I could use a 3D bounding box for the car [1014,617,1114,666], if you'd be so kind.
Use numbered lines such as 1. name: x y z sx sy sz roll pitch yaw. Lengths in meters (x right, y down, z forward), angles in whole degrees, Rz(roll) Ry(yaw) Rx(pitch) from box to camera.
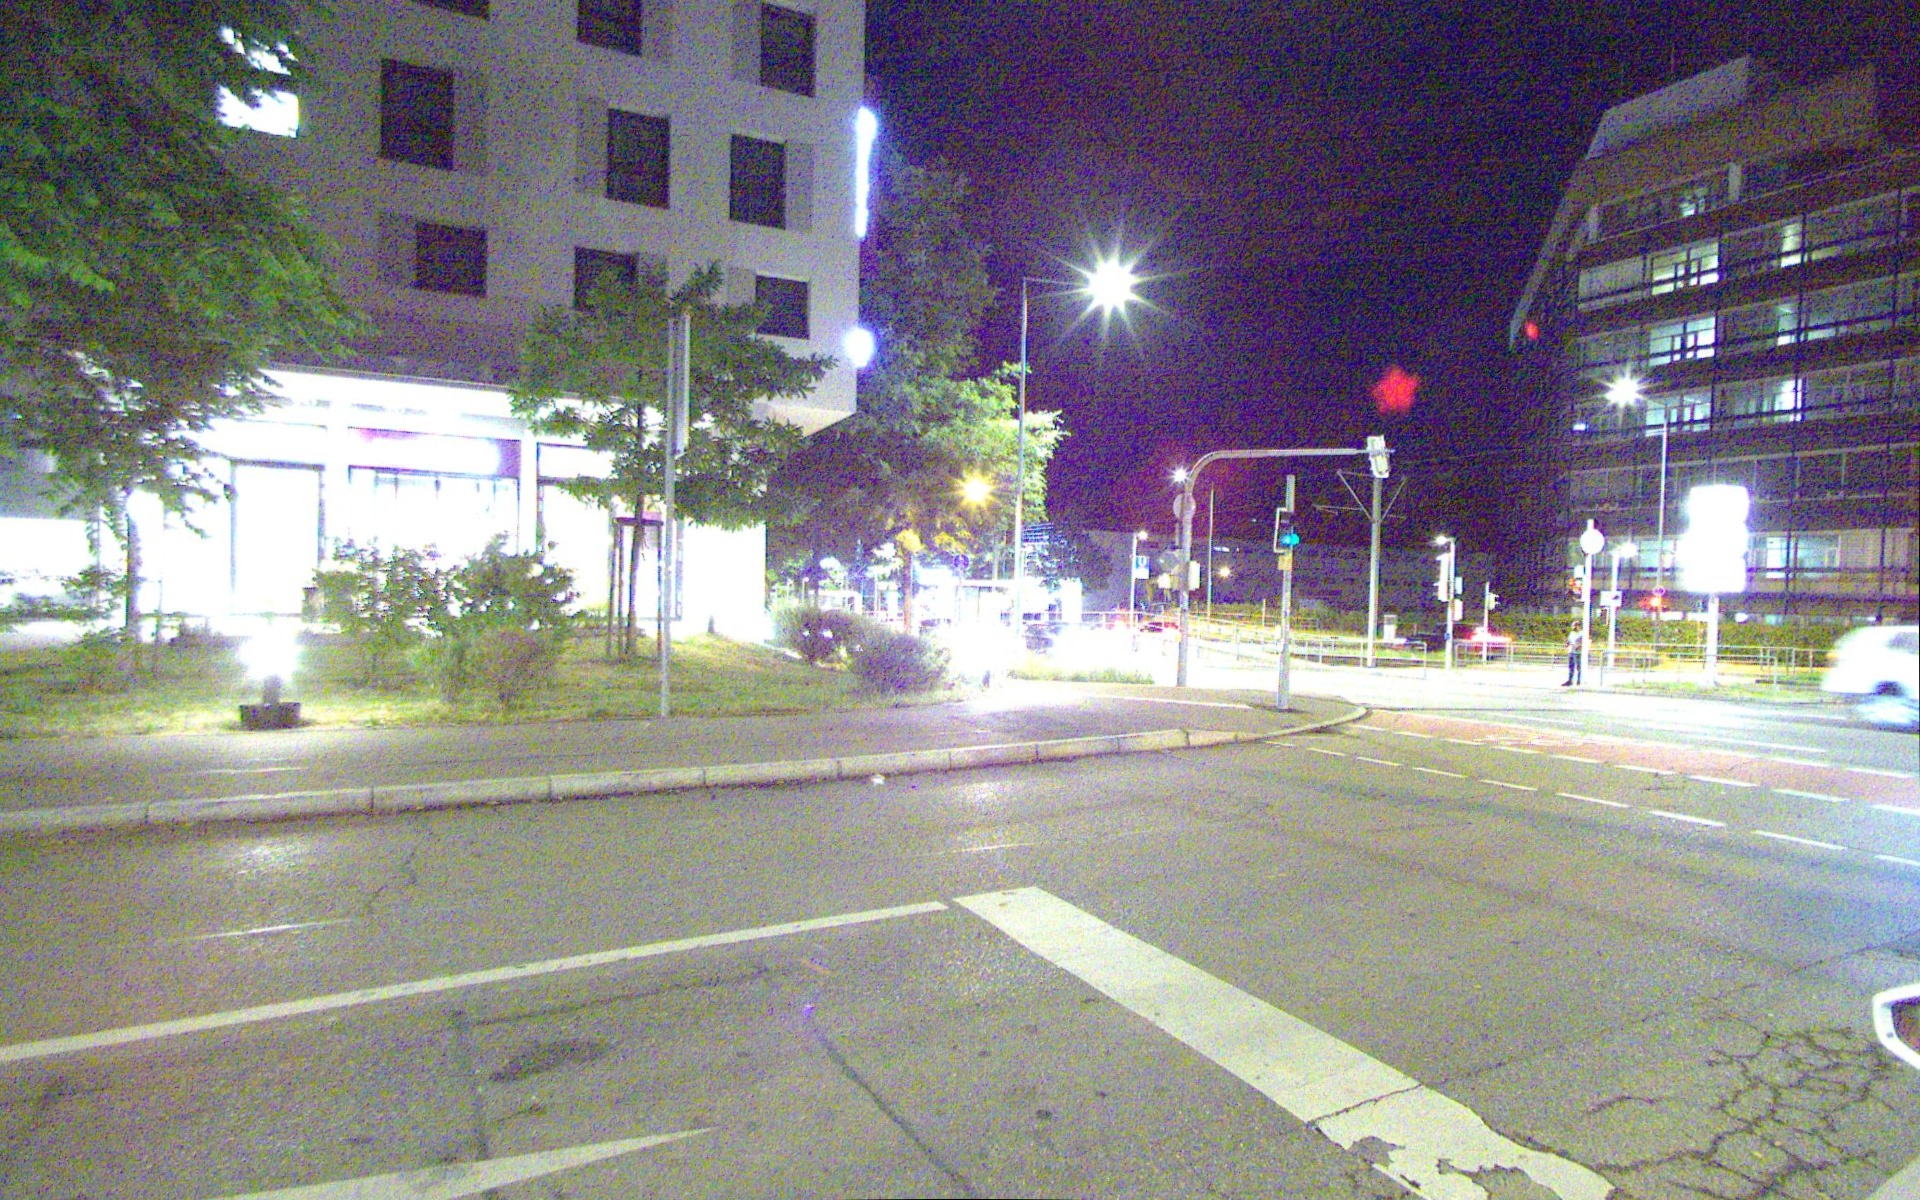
1. car: 3.900 1.542 38.416 1.787 1.673 4.327 1 0 -27

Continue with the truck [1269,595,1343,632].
1. truck: 30.836 1.169 89.741 2.877 3.129 5.873 2 0 -28

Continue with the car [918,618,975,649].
1. car: -0.815 1.898 58.486 1.837 1.681 4.436 0 -1 -23

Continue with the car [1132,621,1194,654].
1. car: 13.634 2.511 67.693 1.976 2.040 3.970 2 -1 -29

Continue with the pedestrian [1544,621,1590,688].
1. pedestrian: 15.500 1.382 25.660 0.854 1.656 0.665 2 0 -34

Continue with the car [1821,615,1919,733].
1. car: 15.110 1.069 14.082 1.851 1.705 4.269 0 -1 -26

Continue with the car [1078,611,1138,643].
1. car: 10.018 1.800 68.255 1.974 2.001 4.168 2 0 -26

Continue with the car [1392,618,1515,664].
1. car: 21.416 1.760 43.789 1.974 1.751 4.602 2 0 -26
